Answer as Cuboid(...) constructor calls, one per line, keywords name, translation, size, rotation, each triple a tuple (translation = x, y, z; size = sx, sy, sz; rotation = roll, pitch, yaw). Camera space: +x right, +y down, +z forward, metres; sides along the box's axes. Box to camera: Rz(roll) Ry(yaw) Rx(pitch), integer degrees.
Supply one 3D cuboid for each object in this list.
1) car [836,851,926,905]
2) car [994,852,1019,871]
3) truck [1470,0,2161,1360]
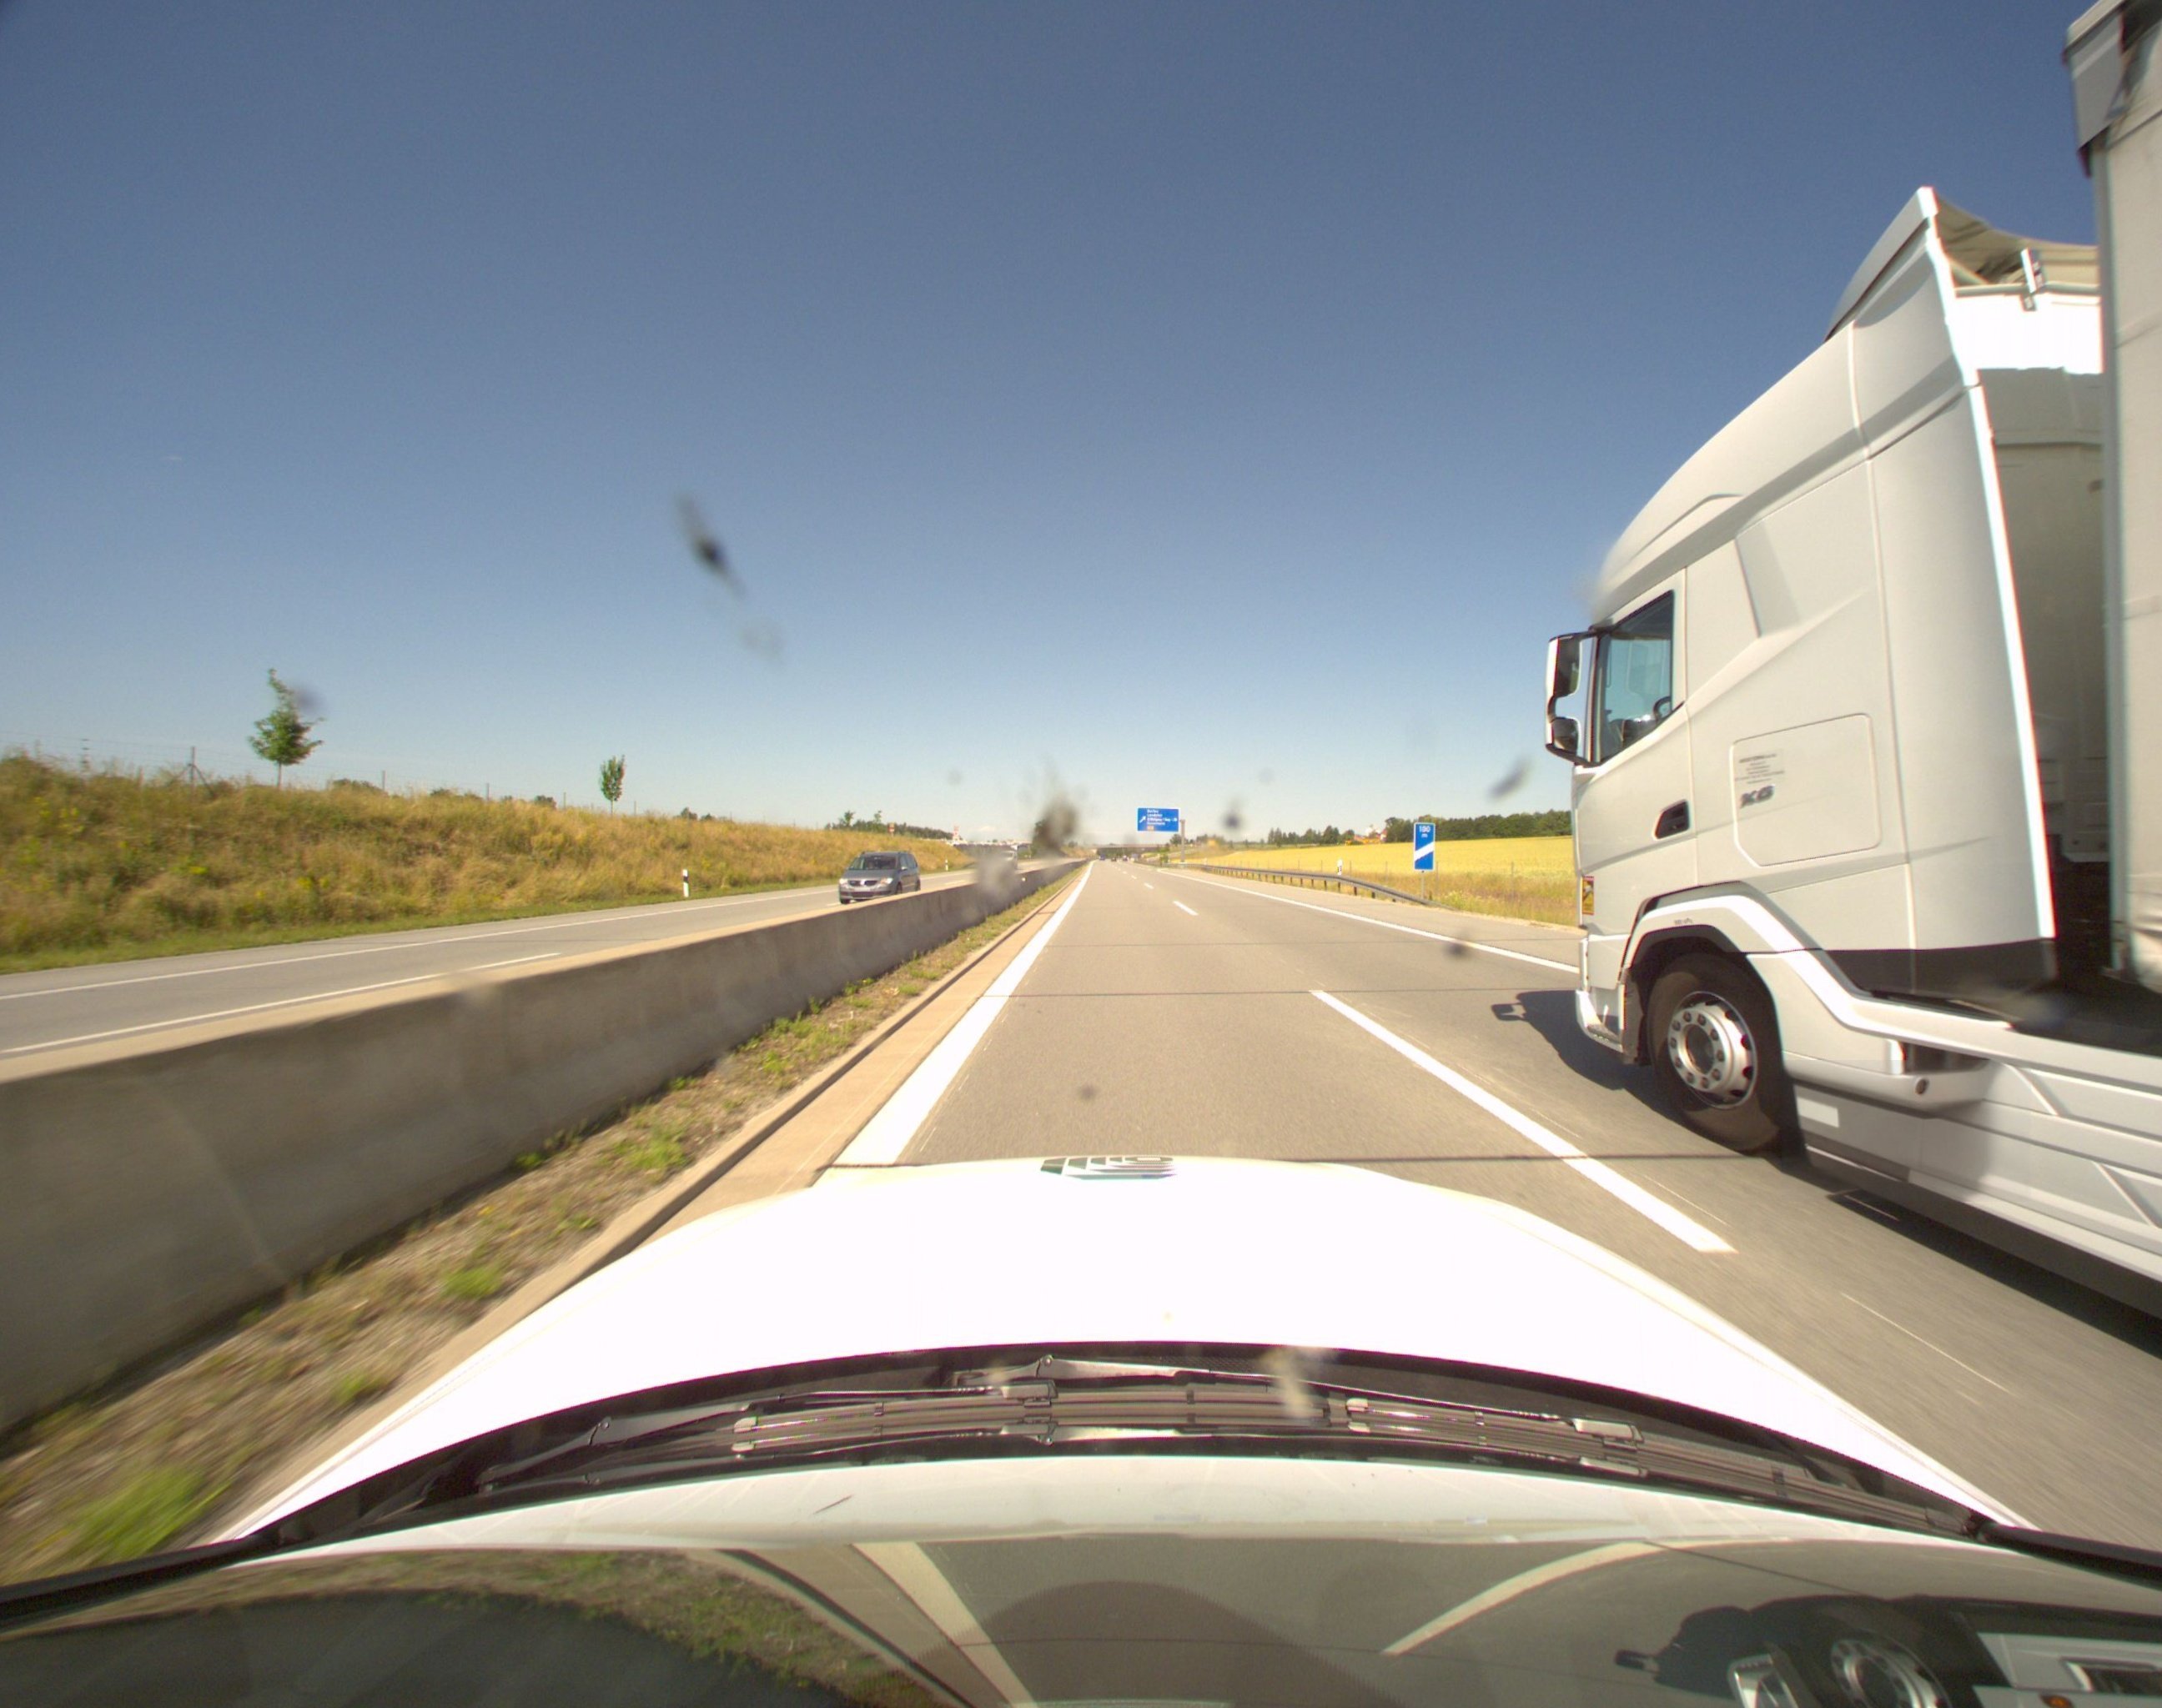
Cuboid(name="car", translation=(-6.290, 0.705, 26.132), size=(1.874, 1.575, 4.562), rotation=(0, 0, -2))
Cuboid(name="car", translation=(-7.799, 0.770, 85.582), size=(2.228, 1.934, 5.790), rotation=(0, 0, -2))
Cuboid(name="truck", translation=(4.512, -0.629, 3.289), size=(3.071, 4.014, 6.191), rotation=(0, 0, 2))
